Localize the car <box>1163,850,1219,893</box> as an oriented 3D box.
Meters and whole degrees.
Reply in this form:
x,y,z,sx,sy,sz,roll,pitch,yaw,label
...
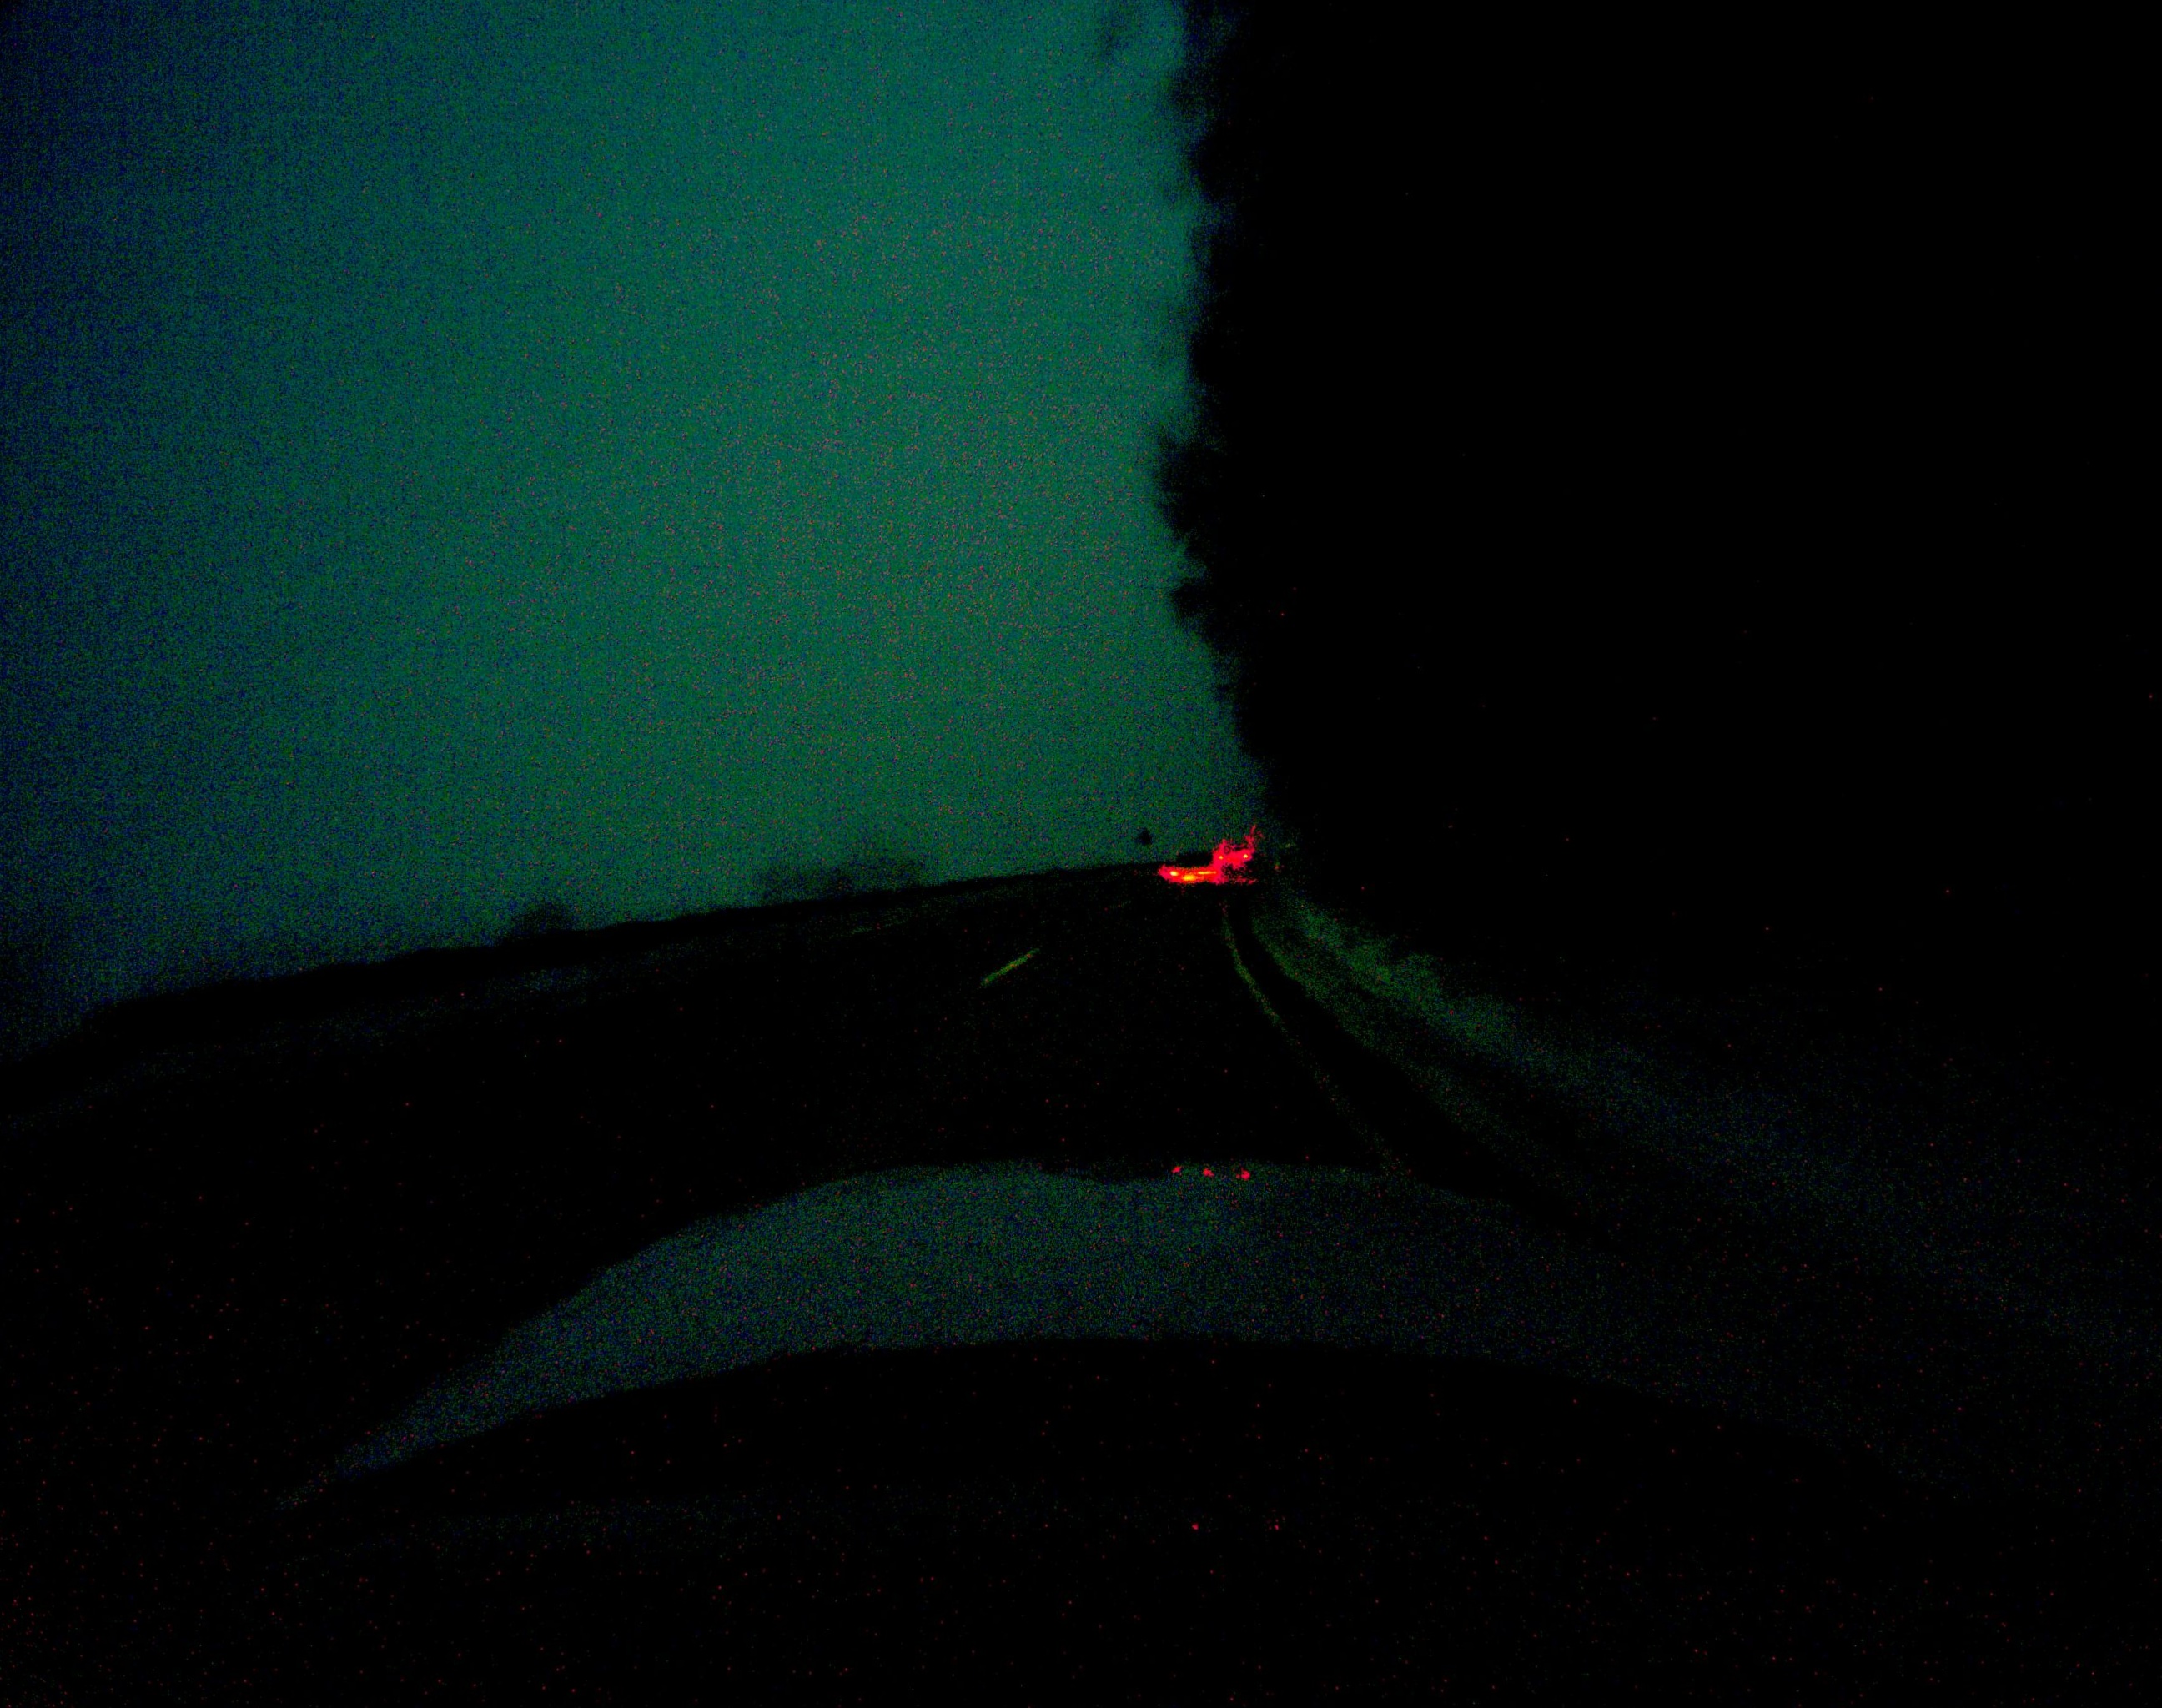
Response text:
x,y,z,sx,sy,sz,roll,pitch,yaw,label
4.419,0.652,32.304,1.934,1.381,4.012,-4,1,10,car

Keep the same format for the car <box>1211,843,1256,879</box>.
x,y,z,sx,sy,sz,roll,pitch,yaw,label
8.318,0.329,44.091,1.979,1.783,4.017,-2,0,15,car
